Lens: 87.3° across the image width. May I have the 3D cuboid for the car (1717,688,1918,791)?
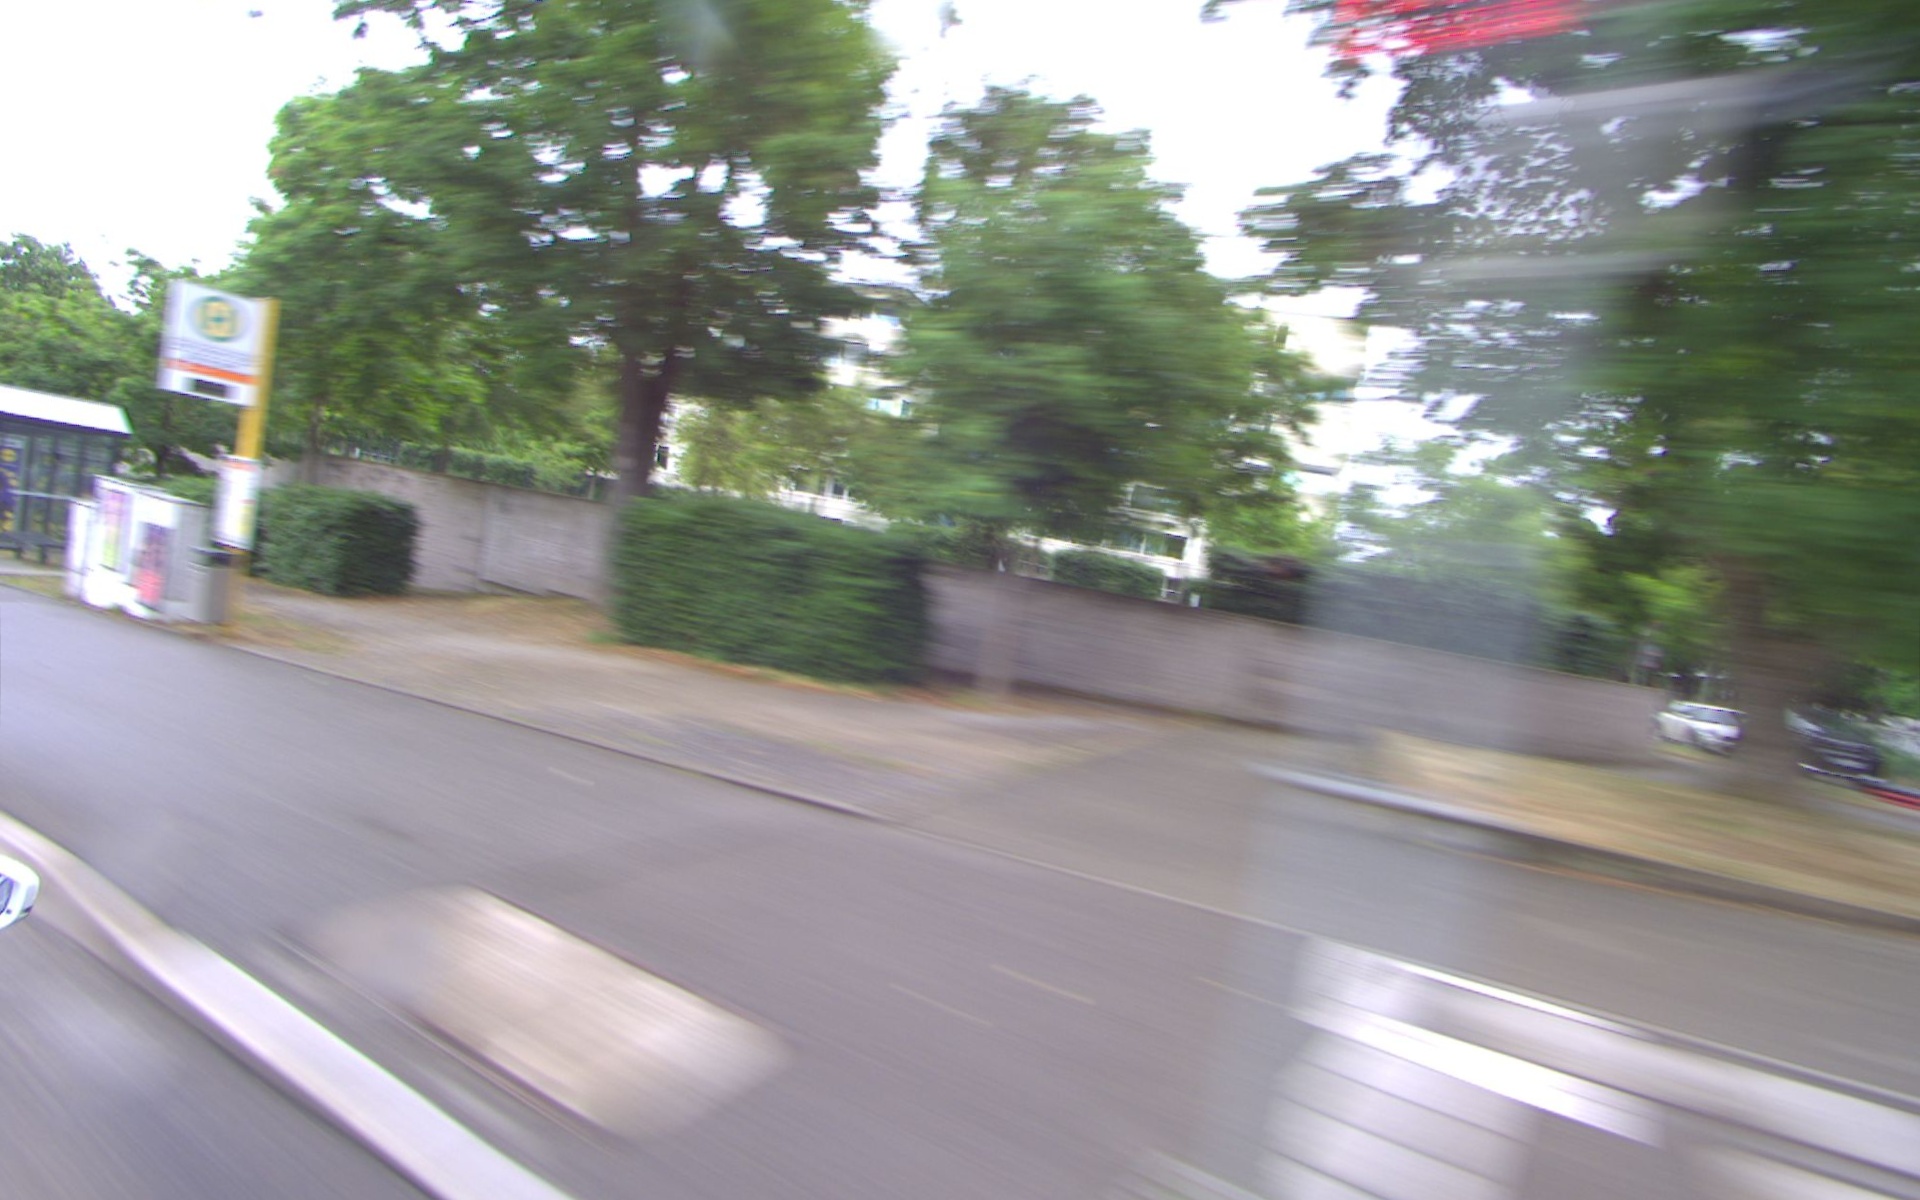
[{"bbox_3d":[19.382,3.069,22.999,1.849,1.654,4.000,7,1,17],"label":"car"}]

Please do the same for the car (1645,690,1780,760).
[{"bbox_3d":[20.972,3.426,28.217,1.600,1.357,4.000,7,1,17],"label":"car"}]
